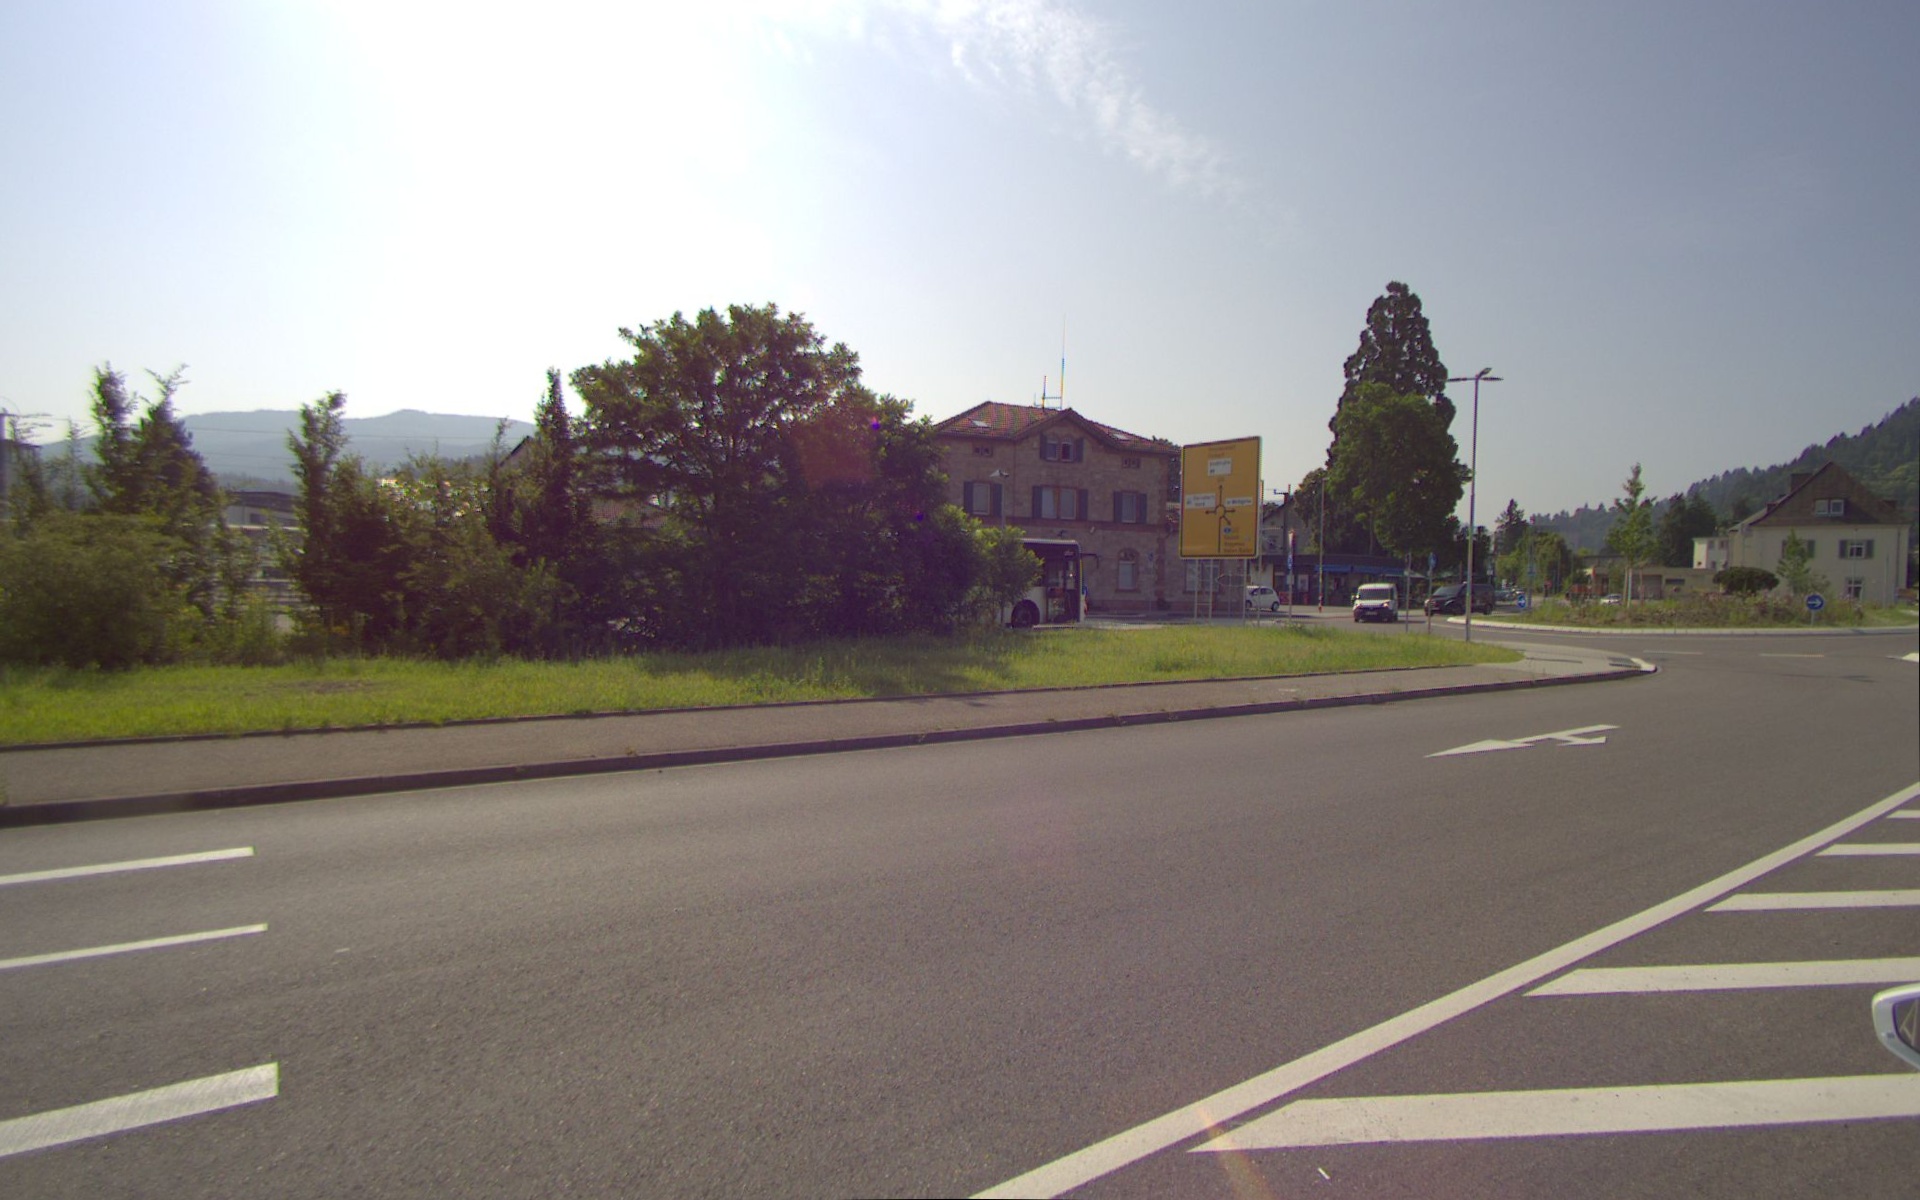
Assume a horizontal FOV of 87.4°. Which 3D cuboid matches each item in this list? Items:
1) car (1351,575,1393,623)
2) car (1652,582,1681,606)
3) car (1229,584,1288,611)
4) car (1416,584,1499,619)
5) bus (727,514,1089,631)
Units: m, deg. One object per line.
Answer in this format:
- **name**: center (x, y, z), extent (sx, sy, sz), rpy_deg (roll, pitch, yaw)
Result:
- **car**: center (20.387, -0.102, 49.641), extent (1.777, 2.106, 4.599), rpy_deg (1, 4, 24)
- **car**: center (60.888, -0.550, 86.574), extent (1.787, 2.041, 3.982), rpy_deg (1, 2, 39)
- **car**: center (18.484, -0.173, 62.222), extent (3.494, 1.469, 1.382), rpy_deg (3, 0, -29)
- **car**: center (29.296, 0.082, 59.123), extent (4.817, 1.972, 1.833), rpy_deg (1, 0, -26)
- **bus**: center (-1.285, -0.804, 31.726), extent (11.601, 3.165, 3.044), rpy_deg (0, 2, -35)
